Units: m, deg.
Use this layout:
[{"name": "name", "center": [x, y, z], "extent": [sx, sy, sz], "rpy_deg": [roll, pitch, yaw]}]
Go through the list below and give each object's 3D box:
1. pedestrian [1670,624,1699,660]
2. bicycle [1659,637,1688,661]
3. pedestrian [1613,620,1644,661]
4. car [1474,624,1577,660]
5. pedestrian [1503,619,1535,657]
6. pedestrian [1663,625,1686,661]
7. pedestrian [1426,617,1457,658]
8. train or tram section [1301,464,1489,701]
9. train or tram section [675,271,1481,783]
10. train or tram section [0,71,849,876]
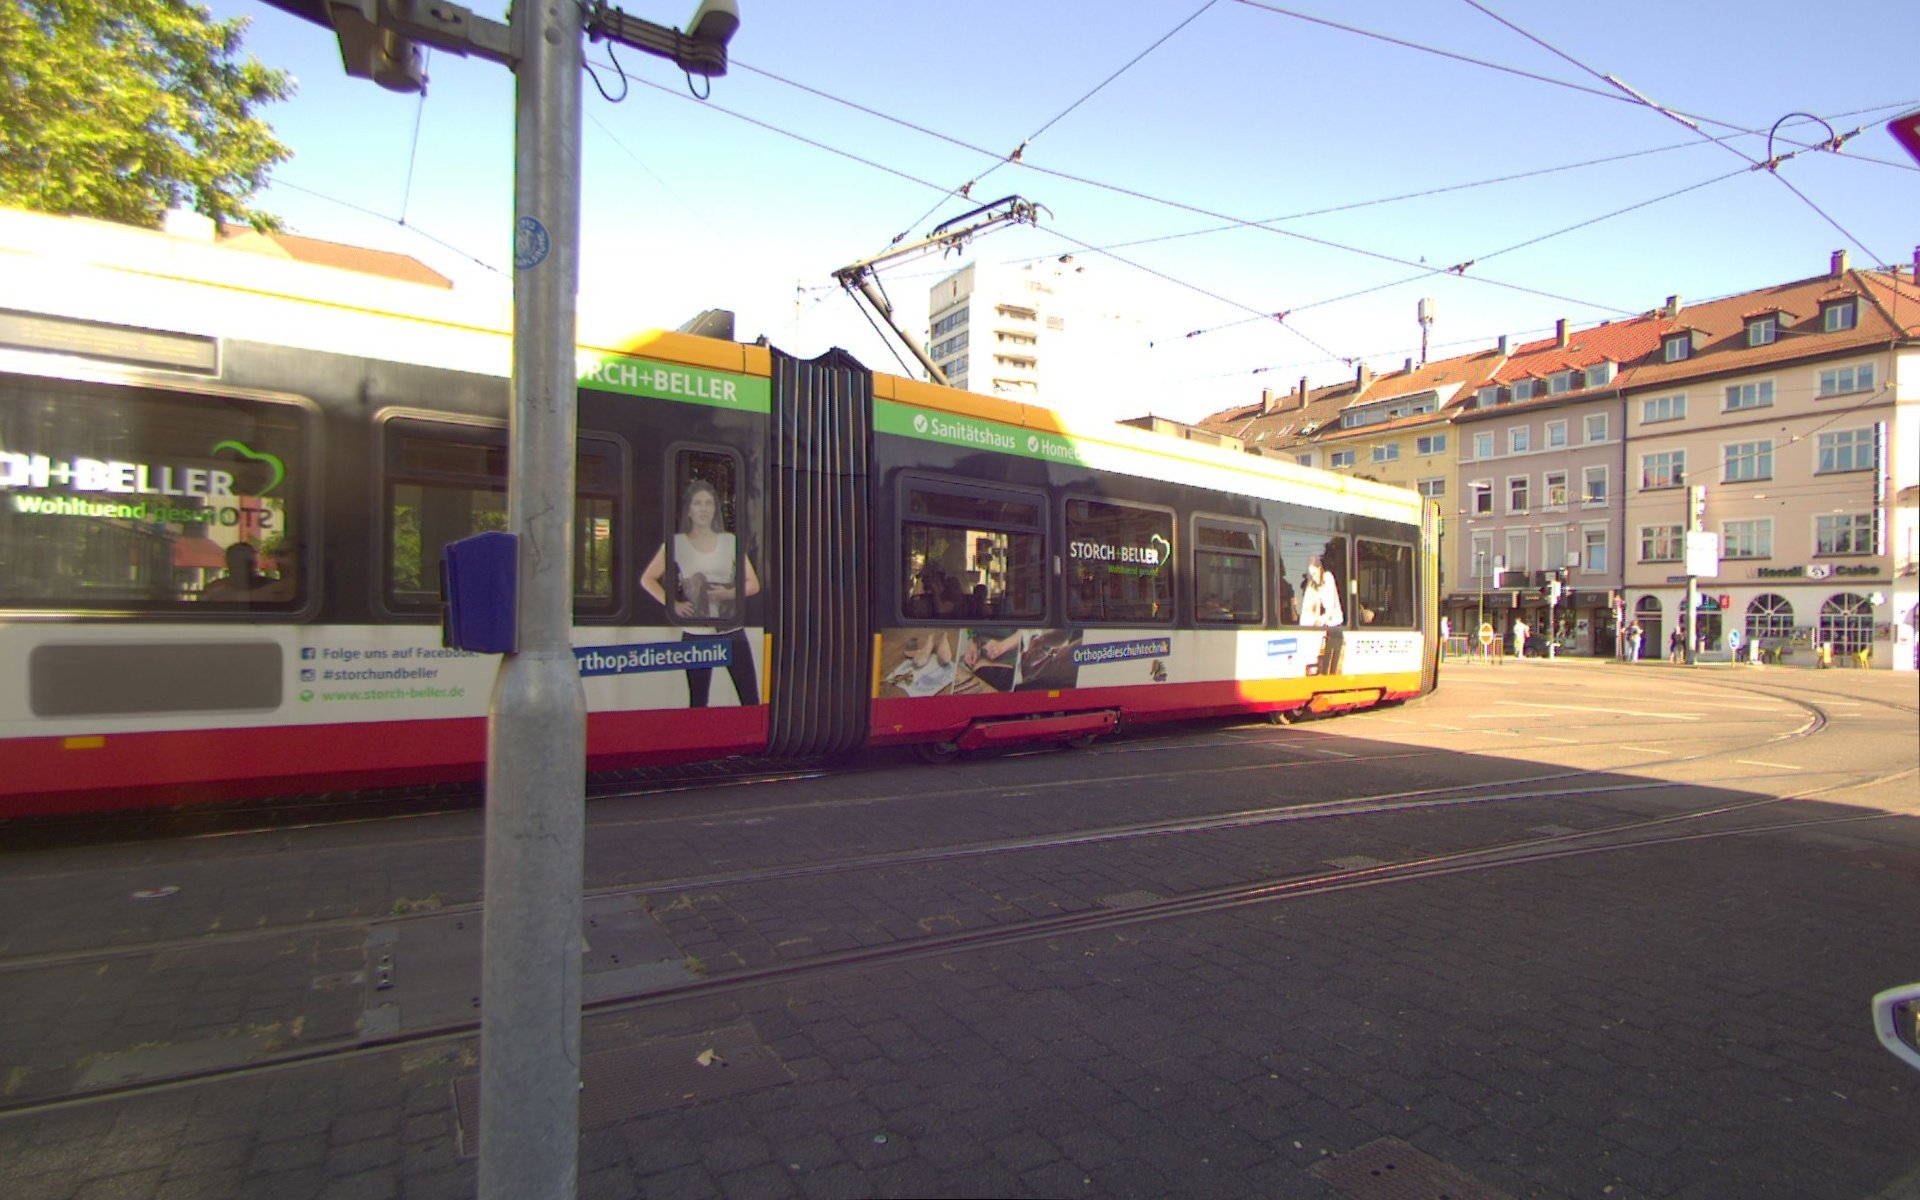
[{"name": "pedestrian", "center": [32.590, 1.879, 45.177], "extent": [0.816, 1.598, 0.728], "rpy_deg": [2, 0, 14]}, {"name": "bicycle", "center": [34.084, 2.343, 47.980], "extent": [1.479, 1.091, 0.570], "rpy_deg": [2, 0, -30]}, {"name": "pedestrian", "center": [26.542, 1.592, 39.860], "extent": [0.817, 1.598, 0.552], "rpy_deg": [2, 0, -2]}, {"name": "car", "center": [30.819, 2.277, 54.851], "extent": [2.277, 1.734, 4.350], "rpy_deg": [2, 0, -27]}, {"name": "pedestrian", "center": [24.475, 1.658, 44.005], "extent": [0.821, 1.598, 0.847], "rpy_deg": [2, 0, -20]}, {"name": "pedestrian", "center": [34.150, 2.042, 48.010], "extent": [0.743, 1.692, 0.579], "rpy_deg": [2, 0, -30]}, {"name": "pedestrian", "center": [19.214, 1.485, 40.110], "extent": [0.867, 1.598, 0.665], "rpy_deg": [2, 0, -2]}, {"name": "train or tram section", "center": [9.754, -0.172, 22.489], "extent": [2.885, 3.864, 12.113], "rpy_deg": [1, -1, 24]}, {"name": "train or tram section", "center": [2.866, -0.412, 13.026], "extent": [12.731, 3.864, 2.904], "rpy_deg": [2, -1, -43]}, {"name": "train or tram section", "center": [-6.918, -0.640, 4.936], "extent": [12.927, 3.864, 2.912], "rpy_deg": [2, -1, -36]}]
